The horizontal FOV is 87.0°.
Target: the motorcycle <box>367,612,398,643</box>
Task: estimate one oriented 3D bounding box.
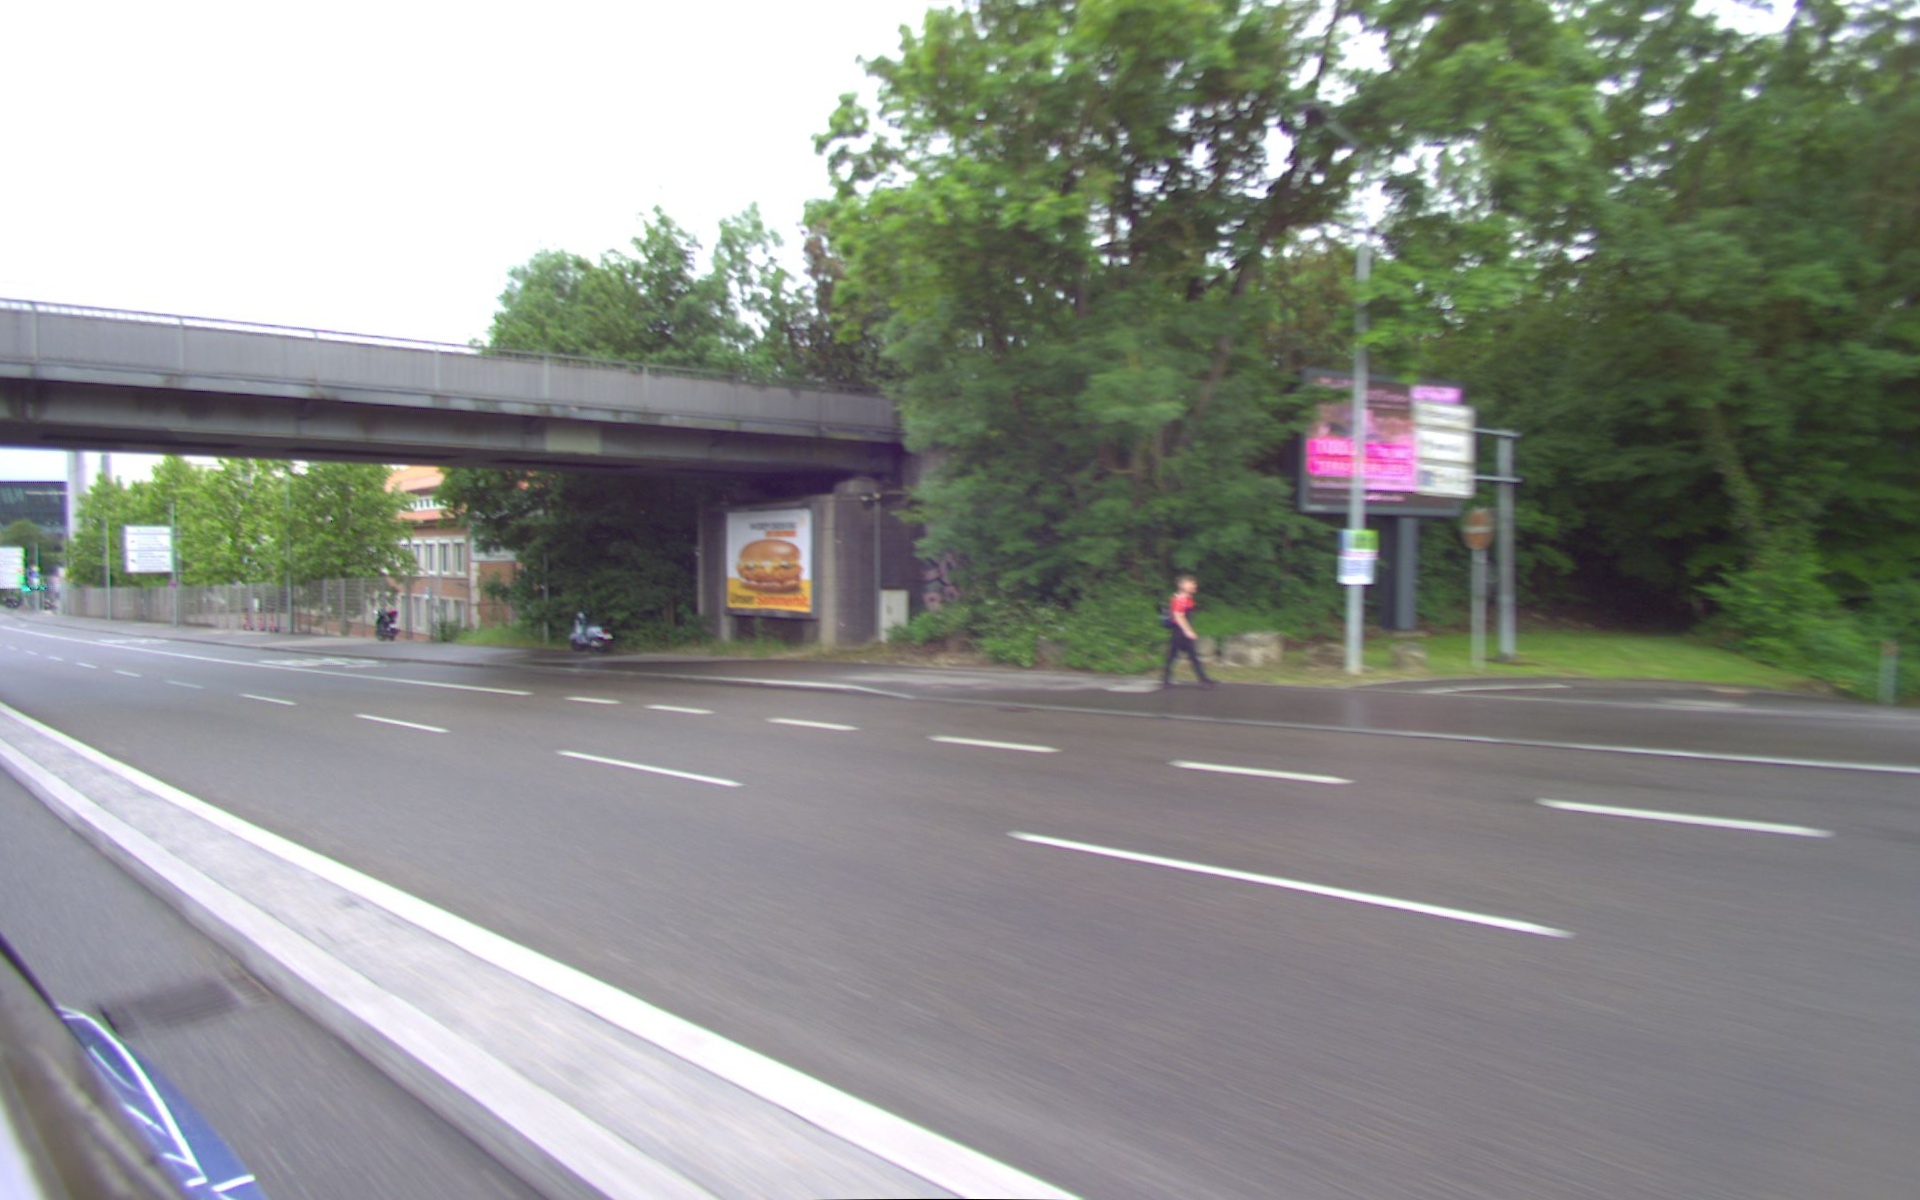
[{"bbox_3d":[-23.290,1.092,40.811,1.996,1.214,0.463,-1,0,42],"label":"motorcycle"}]

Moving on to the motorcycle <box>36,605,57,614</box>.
[{"bbox_3d":[-110.461,1.107,122.343,2.145,1.035,0.625,0,1,8],"label":"motorcycle"}]

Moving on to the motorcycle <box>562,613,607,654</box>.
[{"bbox_3d":[-10.933,0.962,29.430,0.463,1.167,1.933,-1,0,-45],"label":"motorcycle"}]

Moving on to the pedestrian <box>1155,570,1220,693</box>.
[{"bbox_3d":[3.510,0.471,15.623,0.513,1.829,0.801,-2,1,-38],"label":"pedestrian"}]

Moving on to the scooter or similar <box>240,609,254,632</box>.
[{"bbox_3d":[-38.677,1.130,54.884,1.307,1.227,0.308,-1,0,43],"label":"scooter or similar"}]

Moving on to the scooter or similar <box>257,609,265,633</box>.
[{"bbox_3d":[-36.785,1.115,53.228,0.307,1.227,1.311,-1,0,-36],"label":"scooter or similar"}]

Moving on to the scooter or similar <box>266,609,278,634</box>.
[{"bbox_3d":[-35.057,1.092,51.550,0.307,1.227,1.309,-1,0,-43],"label":"scooter or similar"}]
